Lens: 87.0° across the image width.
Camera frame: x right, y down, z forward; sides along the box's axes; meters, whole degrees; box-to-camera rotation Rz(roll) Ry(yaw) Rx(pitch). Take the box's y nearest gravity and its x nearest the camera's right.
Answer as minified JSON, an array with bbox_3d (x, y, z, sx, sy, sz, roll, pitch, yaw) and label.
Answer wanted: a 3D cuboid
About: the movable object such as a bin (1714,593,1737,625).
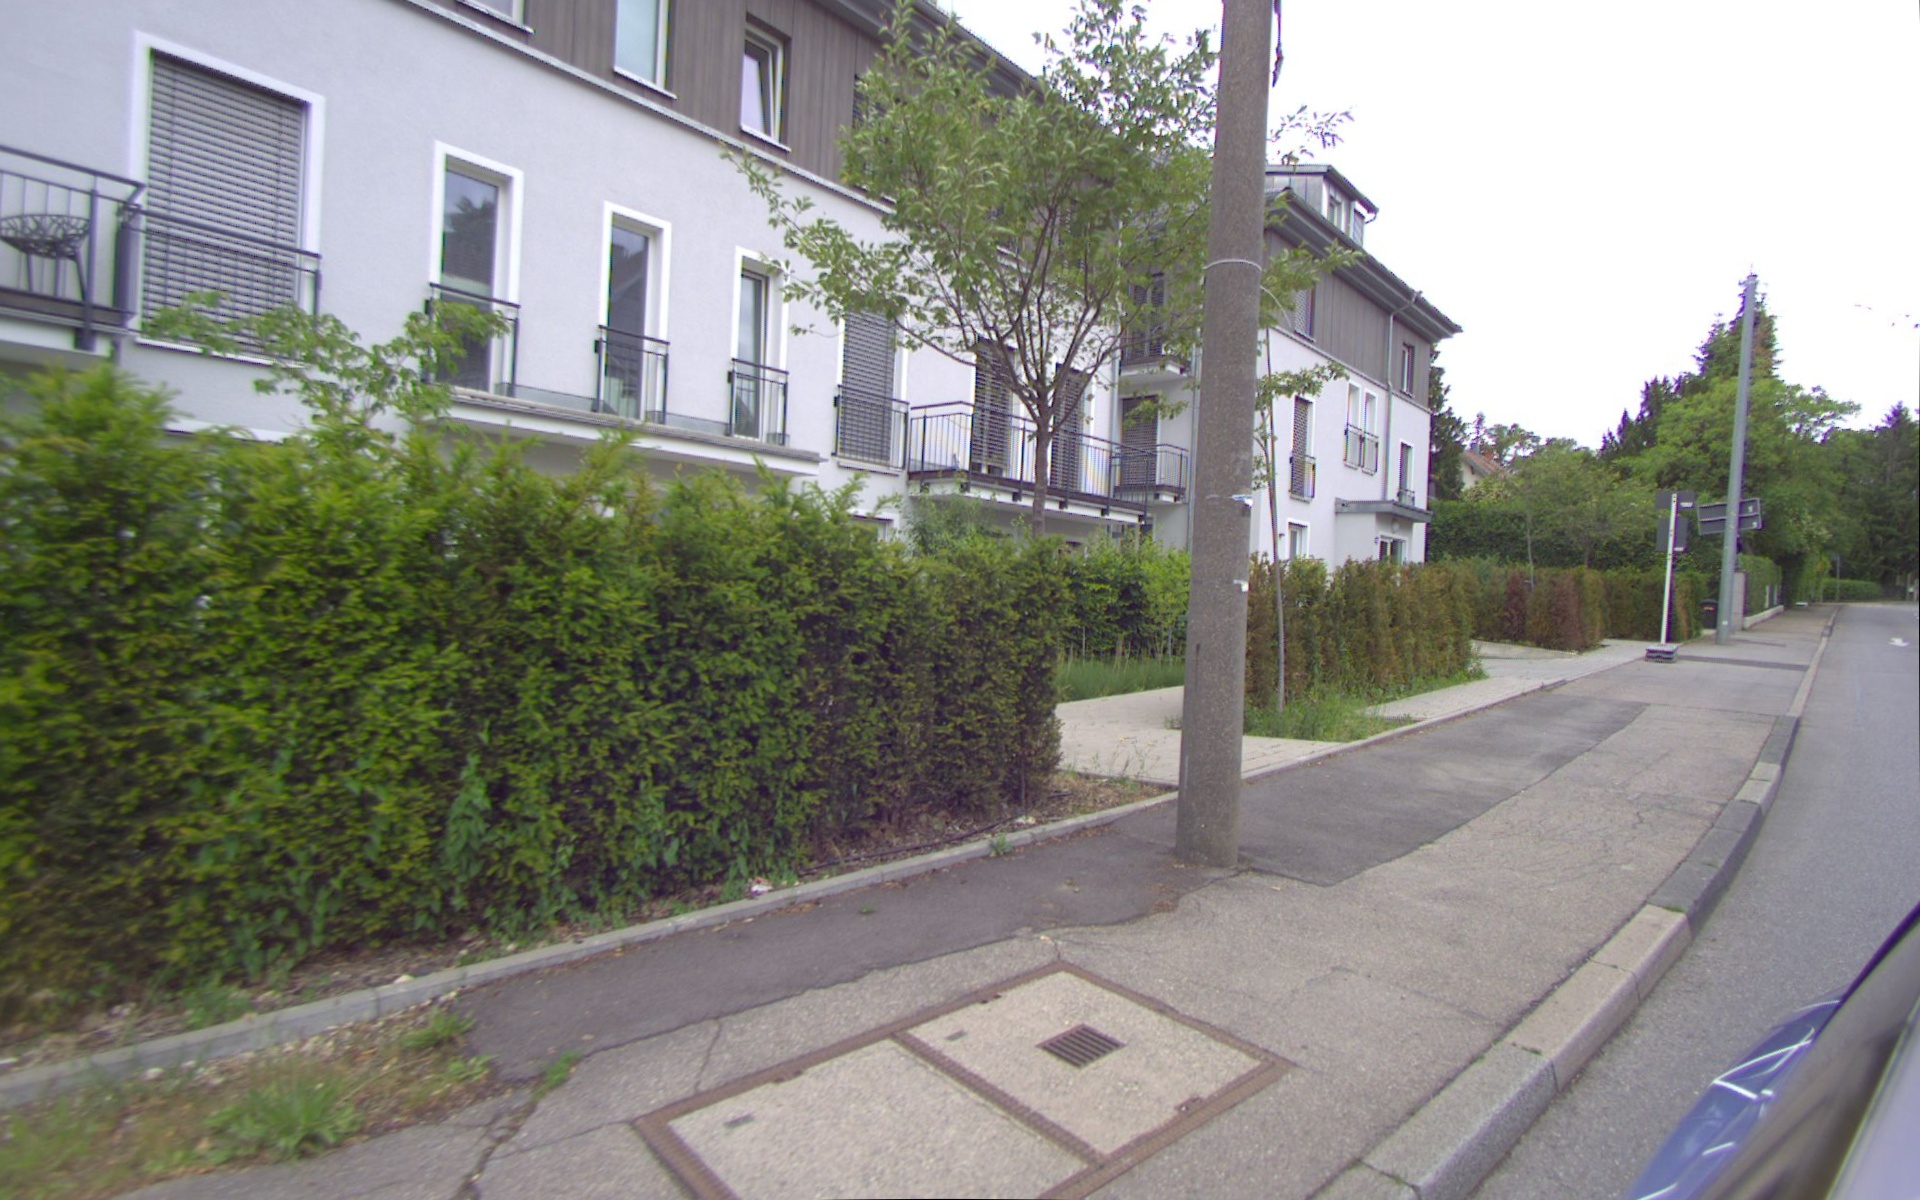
[{"bbox_3d":[23.430,0.259,30.975,0.463,0.949,0.598,2,1,31],"label":"movable object such as a bin"}]
